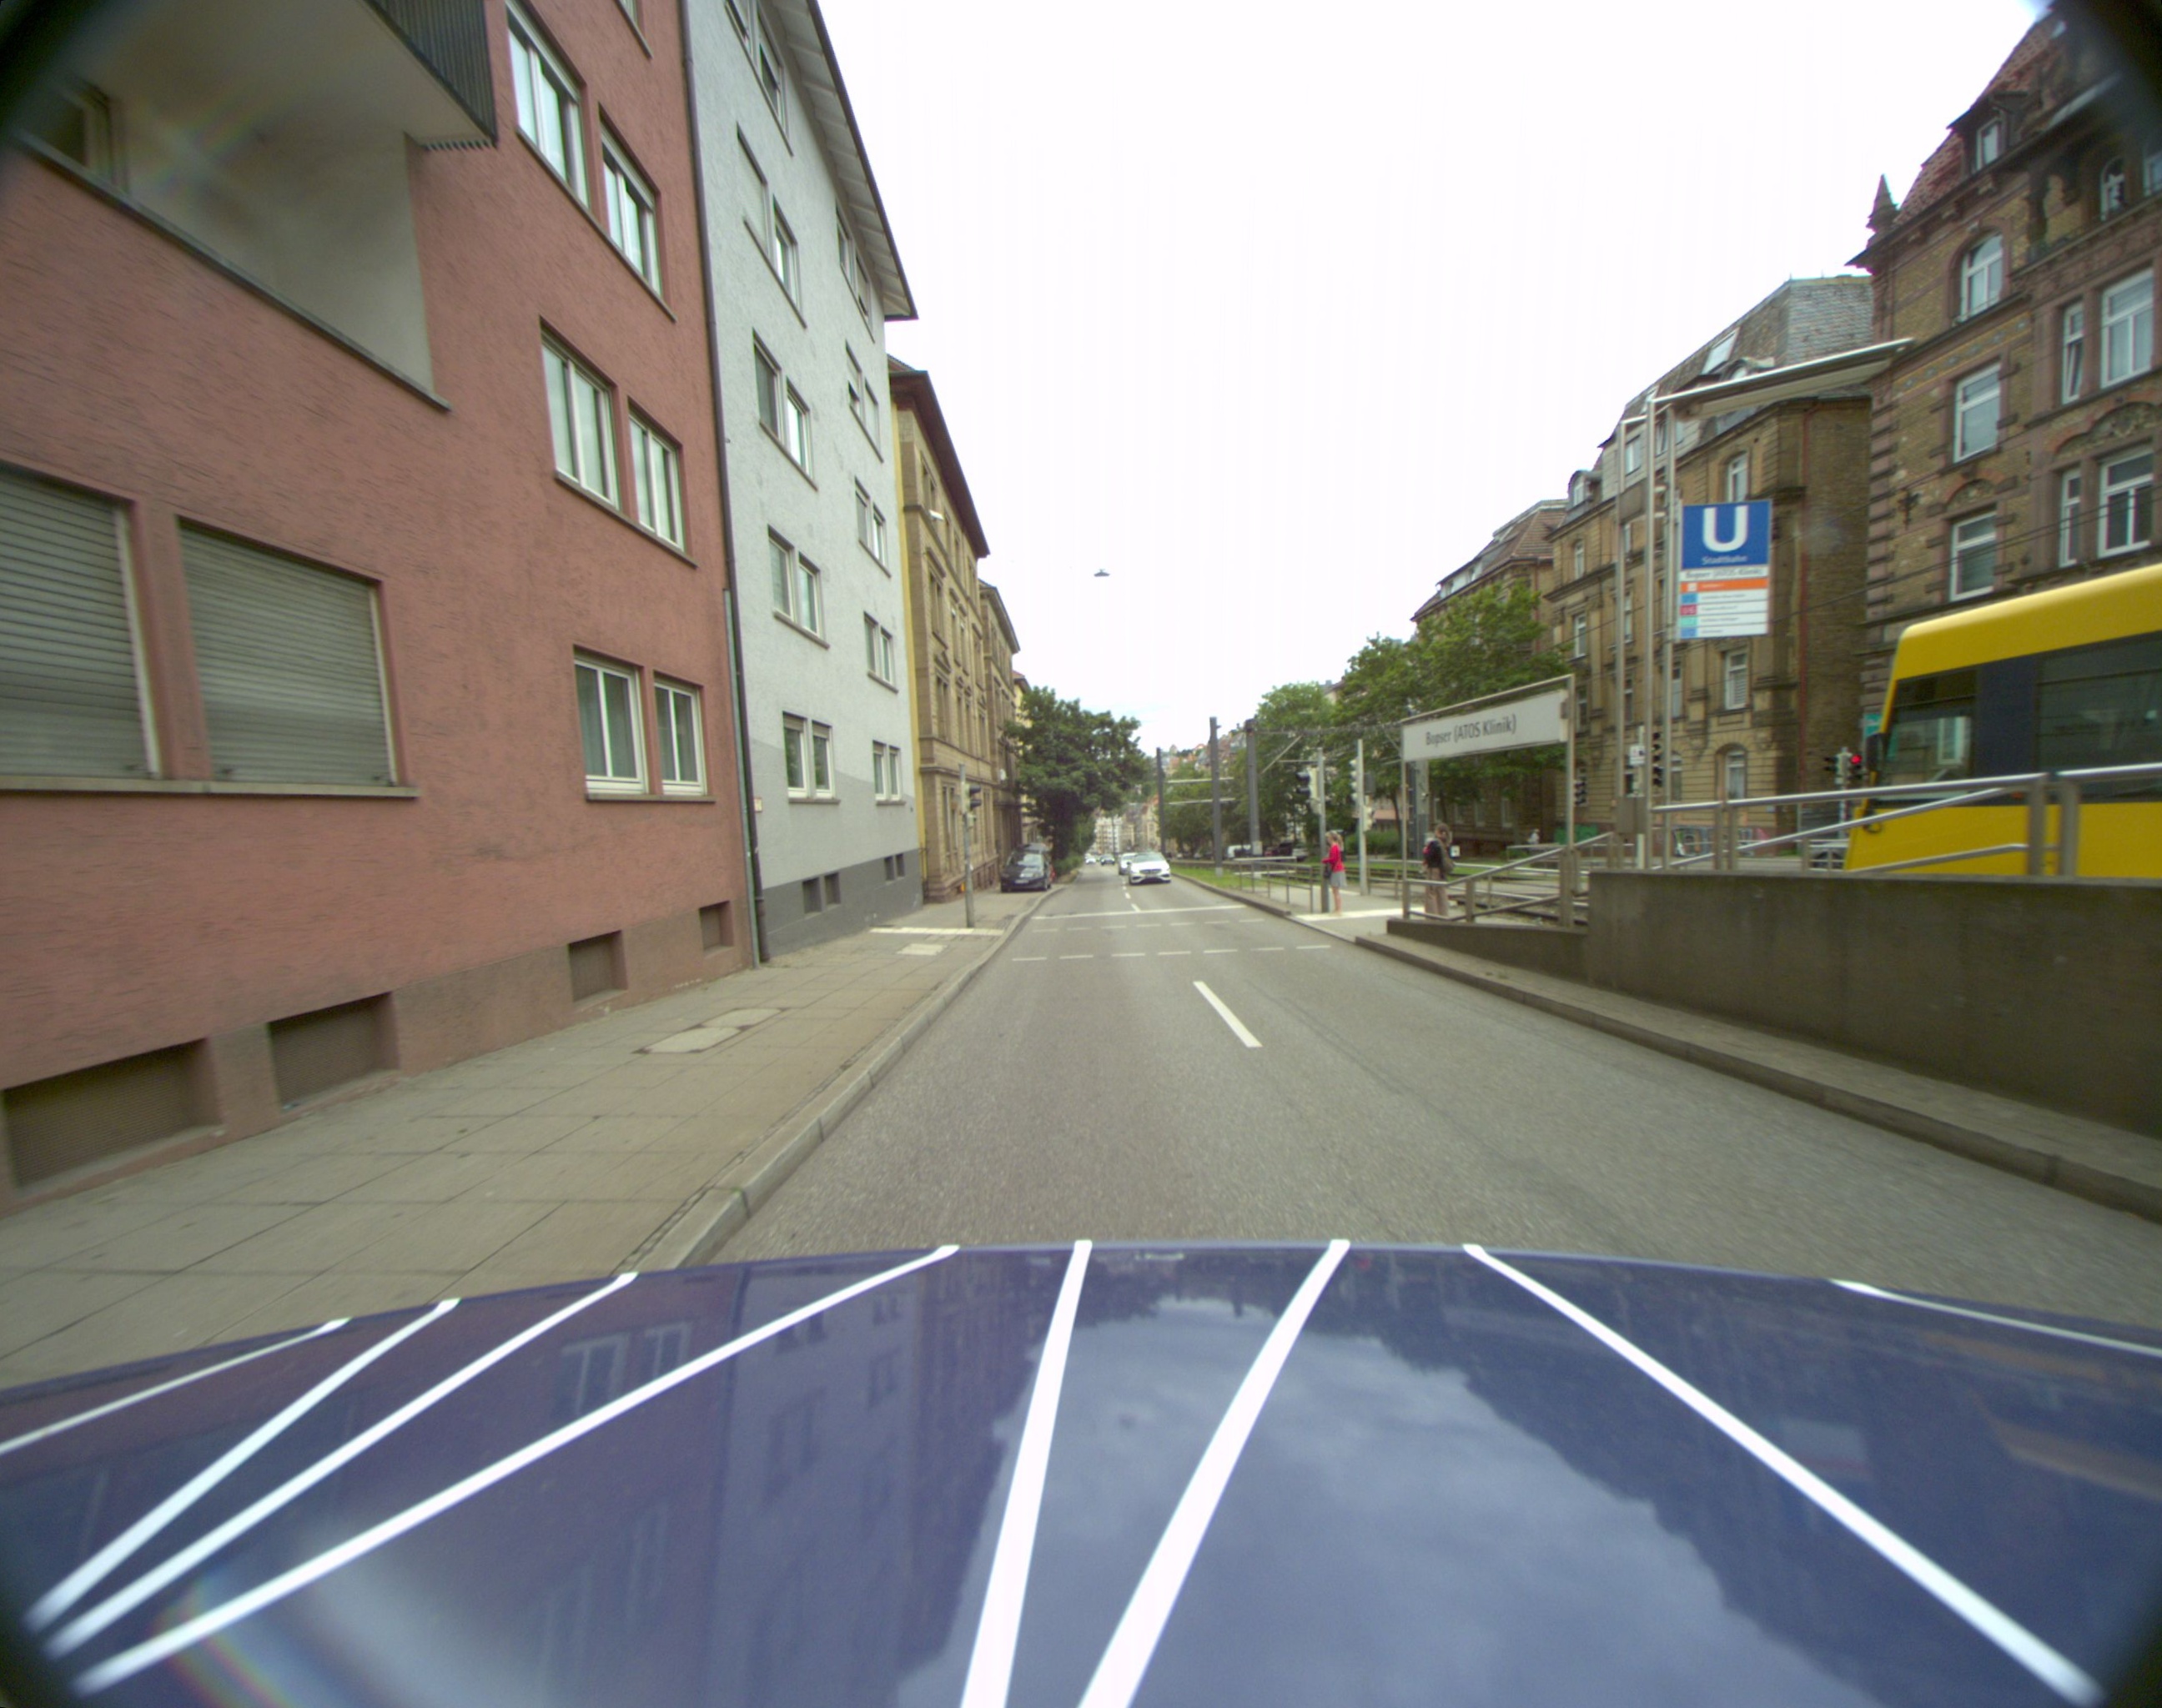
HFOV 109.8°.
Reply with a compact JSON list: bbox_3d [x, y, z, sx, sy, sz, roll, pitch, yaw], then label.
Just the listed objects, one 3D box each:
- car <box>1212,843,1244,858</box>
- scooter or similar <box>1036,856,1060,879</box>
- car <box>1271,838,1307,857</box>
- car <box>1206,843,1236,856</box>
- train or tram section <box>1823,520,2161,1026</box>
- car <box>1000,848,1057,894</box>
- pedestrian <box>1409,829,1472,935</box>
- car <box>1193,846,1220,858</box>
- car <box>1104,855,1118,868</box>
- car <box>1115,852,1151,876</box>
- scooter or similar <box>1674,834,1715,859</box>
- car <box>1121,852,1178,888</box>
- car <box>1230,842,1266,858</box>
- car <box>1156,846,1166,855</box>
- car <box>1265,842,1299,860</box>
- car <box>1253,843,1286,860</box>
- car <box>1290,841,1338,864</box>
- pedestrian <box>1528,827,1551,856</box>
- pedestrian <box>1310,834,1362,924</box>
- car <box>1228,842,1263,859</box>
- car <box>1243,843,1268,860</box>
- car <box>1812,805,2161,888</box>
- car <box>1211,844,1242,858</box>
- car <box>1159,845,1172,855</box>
[{"bbox_3d":[19.897,-0.448,102.774,3.859,1.804,1.782,-3,1,-15],"label":"car"},{"bbox_3d":[-1.790,0.725,41.150,1.199,1.266,0.629,0,1,-8],"label":"scooter or similar"},{"bbox_3d":[19.794,-0.609,72.161,1.780,1.678,3.865,-3,0,41],"label":"car"},{"bbox_3d":[20.970,-0.642,113.874,3.859,1.803,1.782,-3,0,-15],"label":"car"},{"bbox_3d":[8.964,-0.446,1.549,2.956,3.524,12.393,-3,3,1],"label":"train or tram section"},{"bbox_3d":[-2.089,0.638,31.348,1.862,1.701,4.308,-2,0,2],"label":"car"},{"bbox_3d":[5.956,0.447,12.613,0.623,1.685,0.660,-3,1,-9],"label":"pedestrian"},{"bbox_3d":[20.222,-0.345,122.436,3.859,1.803,1.782,-3,0,-15],"label":"car"},{"bbox_3d":[4.328,1.052,108.668,1.881,1.727,4.000,-3,0,2],"label":"car"},{"bbox_3d":[3.576,0.682,52.994,1.999,1.479,4.229,-5,0,-2],"label":"car"},{"bbox_3d":[23.929,-0.274,29.670,0.429,0.937,1.588,-3,0,5],"label":"scooter or similar"},{"bbox_3d":[3.075,0.683,34.844,1.999,1.390,4.229,-5,0,-2],"label":"car"},{"bbox_3d":[20.288,-0.454,92.139,3.861,1.678,1.781,-3,0,-22],"label":"car"},{"bbox_3d":[18.719,-0.813,178.304,1.998,2.002,4.000,-3,0,2],"label":"car"},{"bbox_3d":[20.903,-0.350,78.860,1.780,1.678,3.865,-3,0,41],"label":"car"},{"bbox_3d":[20.092,-0.325,81.097,1.780,1.678,3.865,-3,0,42],"label":"car"},{"bbox_3d":[20.356,-0.129,66.269,3.863,1.678,1.780,-4,1,-31],"label":"car"},{"bbox_3d":[24.521,-0.673,40.646,0.689,1.504,0.740,-3,1,2],"label":"pedestrian"},{"bbox_3d":[4.932,0.465,14.735,0.680,1.670,0.685,-3,1,-2],"label":"pedestrian"},{"bbox_3d":[20.369,-0.427,94.337,3.861,1.803,1.781,-3,0,-22],"label":"car"},{"bbox_3d":[20.020,-0.311,87.173,1.780,1.678,3.864,-3,1,29],"label":"car"},{"bbox_3d":[18.563,-0.140,15.987,1.887,1.410,4.559,-3,0,-1],"label":"car"},{"bbox_3d":[20.771,-0.472,108.348,3.859,1.803,1.782,-3,0,-15],"label":"car"},{"bbox_3d":[18.366,-0.856,164.712,1.999,2.002,3.998,-3,0,-5],"label":"car"}]
